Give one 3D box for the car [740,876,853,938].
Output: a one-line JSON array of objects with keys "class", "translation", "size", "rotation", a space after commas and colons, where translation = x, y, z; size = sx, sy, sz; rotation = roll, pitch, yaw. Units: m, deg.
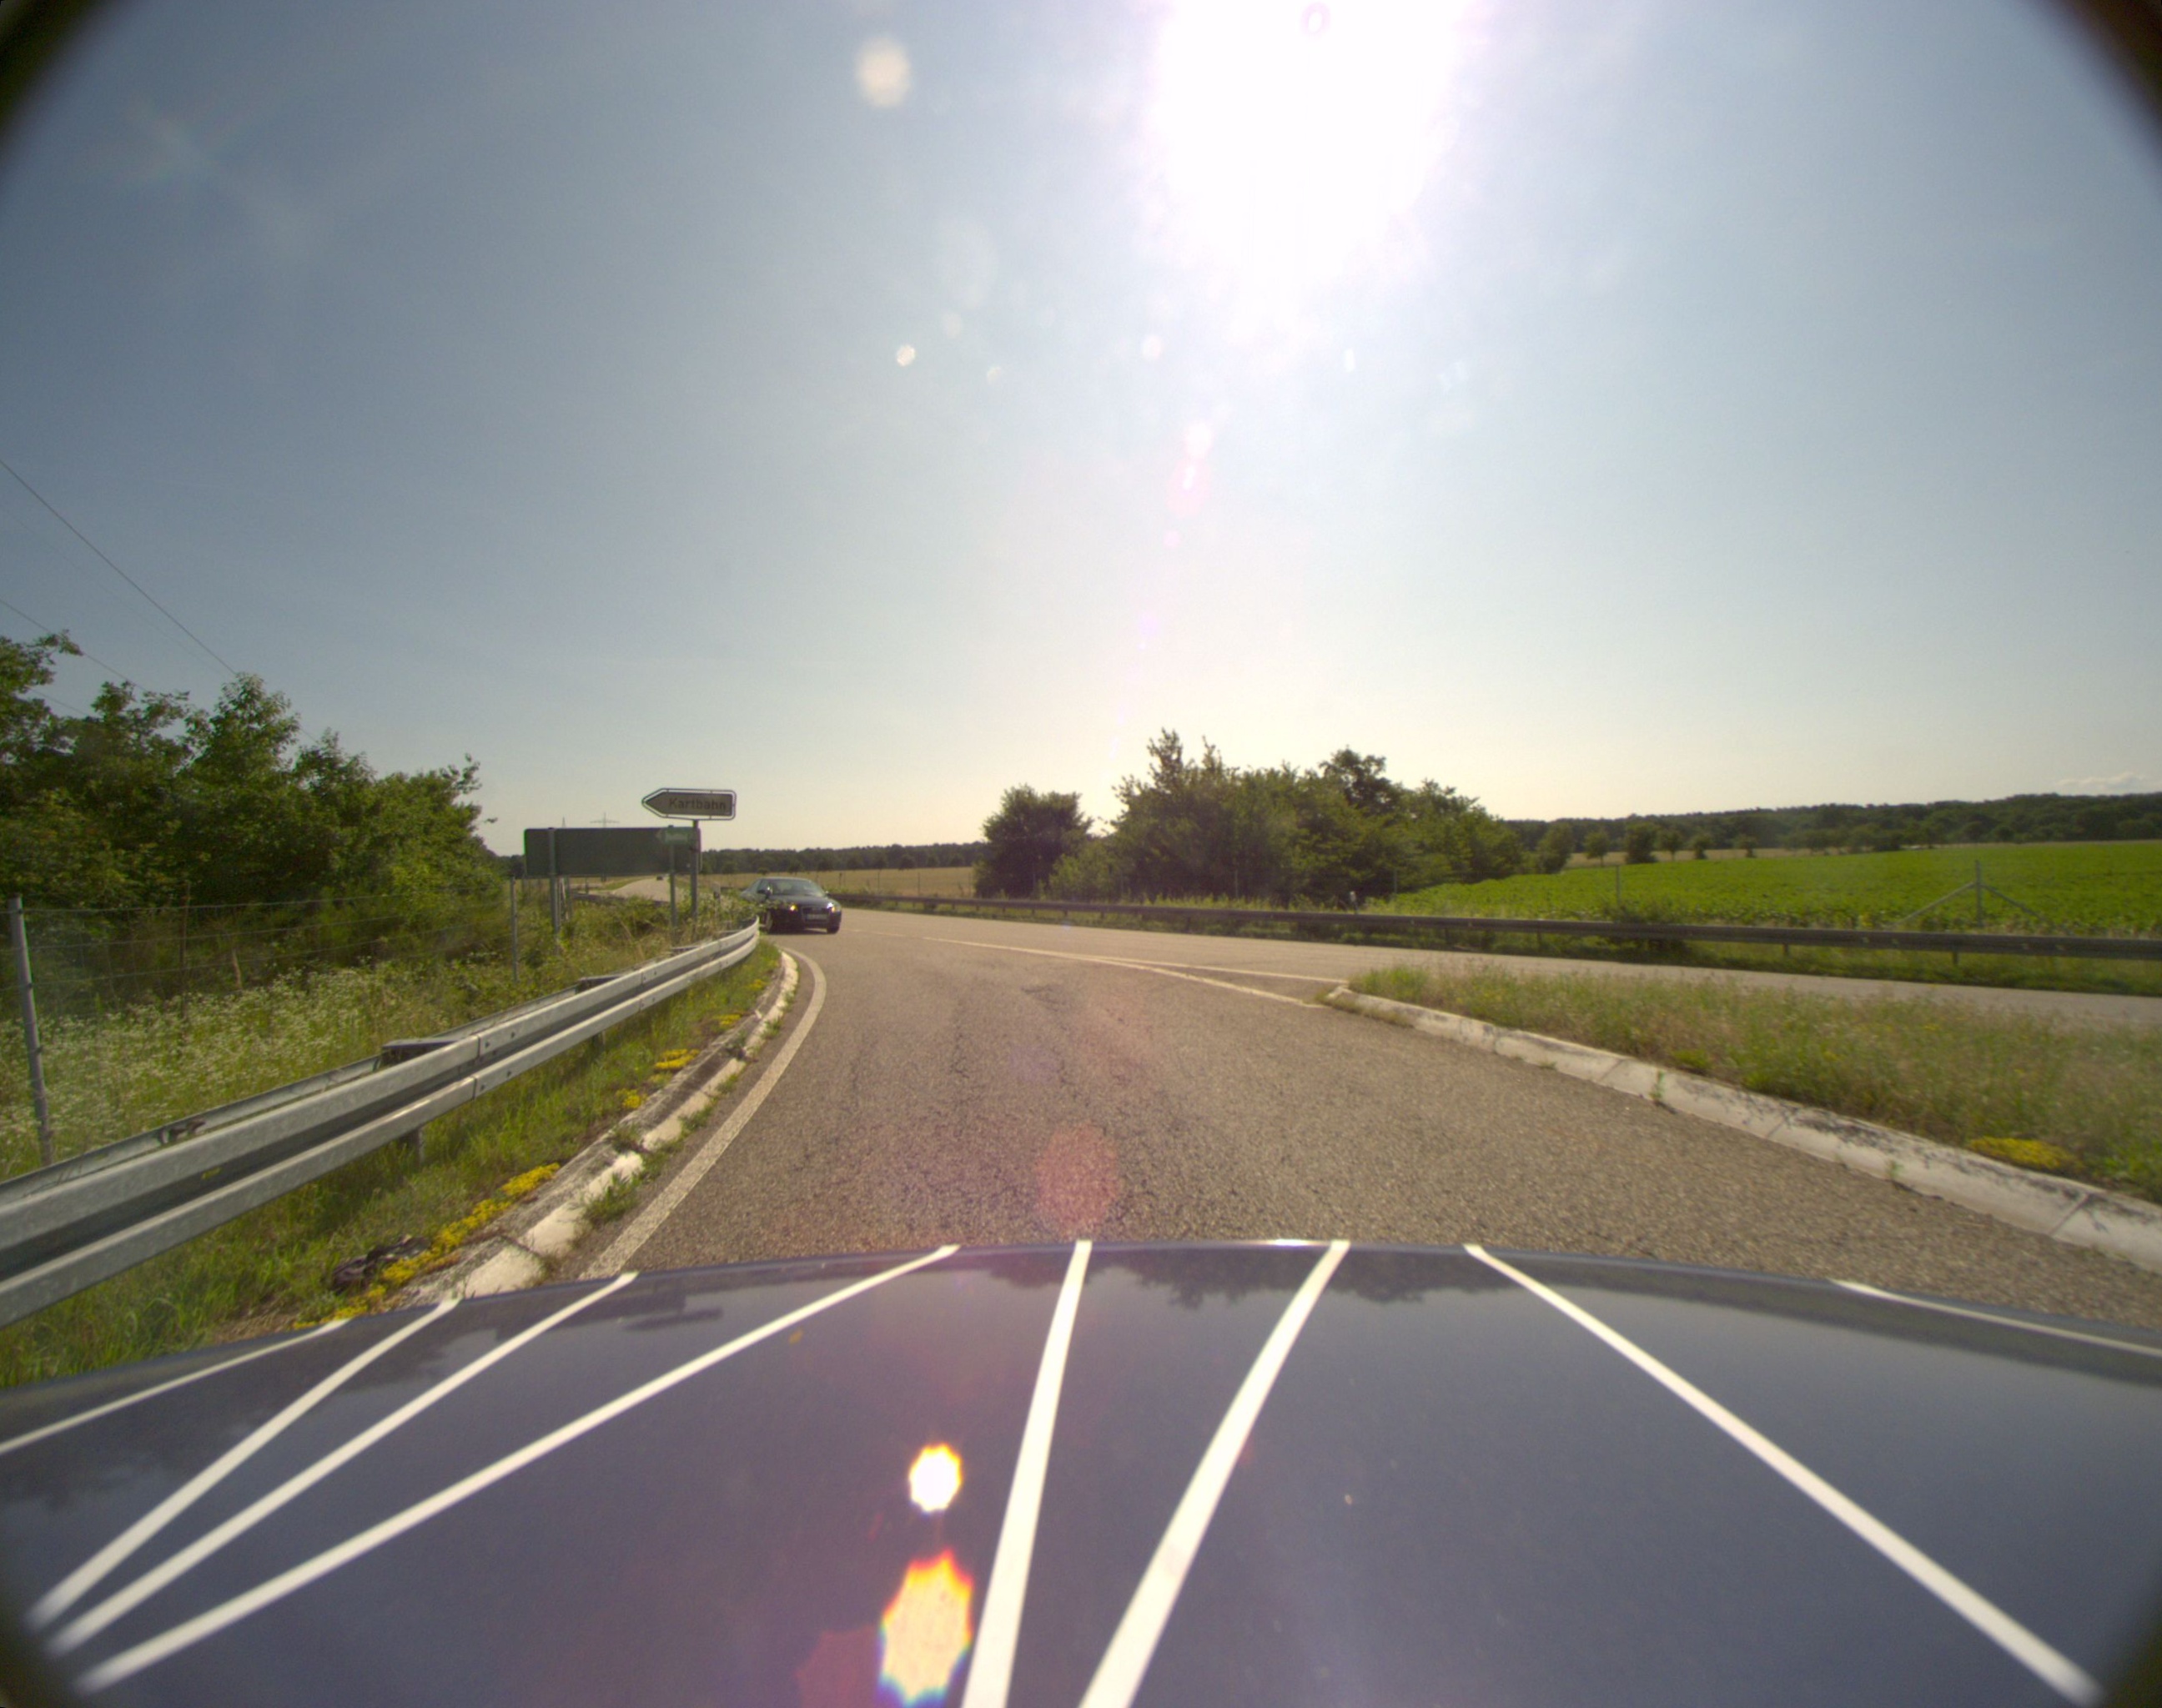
[{"class": "car", "translation": [-7.555, 1.317, 19.942], "size": [1.891, 1.447, 4.066], "rotation": [2, -3, -33]}]
